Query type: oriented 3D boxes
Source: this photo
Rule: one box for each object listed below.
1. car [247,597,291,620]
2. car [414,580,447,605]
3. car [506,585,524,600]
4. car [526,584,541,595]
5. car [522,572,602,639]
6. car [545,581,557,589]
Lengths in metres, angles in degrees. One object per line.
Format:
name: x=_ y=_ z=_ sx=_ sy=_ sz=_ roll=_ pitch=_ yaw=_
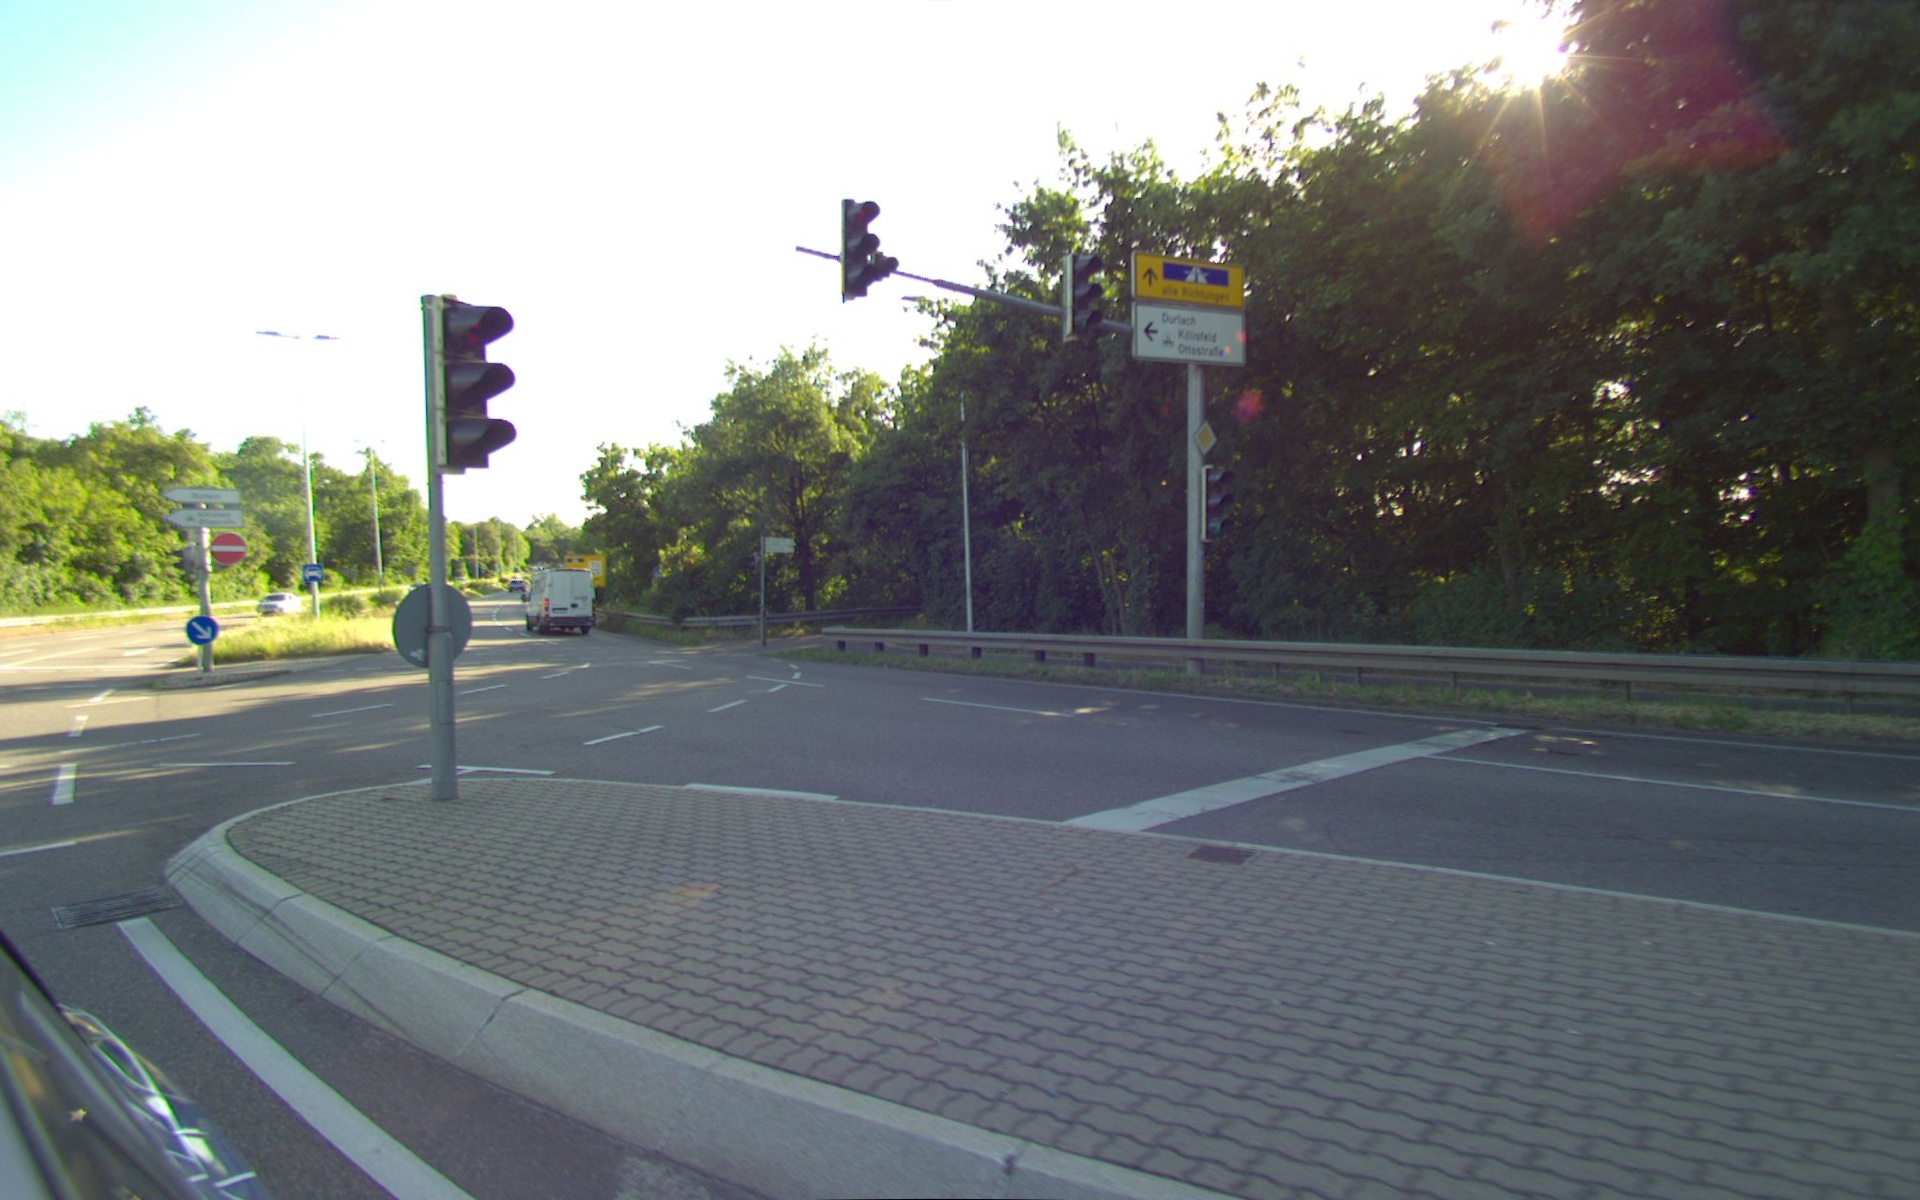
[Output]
car: x=-45.639 y=0.553 z=66.903 sx=1.735 sy=1.447 sz=4.344 roll=-1 pitch=0 yaw=-25
car: x=-44.116 y=-0.641 z=84.459 sx=1.965 sy=2.029 sz=4.013 roll=-1 pitch=0 yaw=-21
car: x=-53.956 y=-0.884 z=122.708 sx=1.885 sy=1.673 sz=4.013 roll=-1 pitch=0 yaw=-24
car: x=-67.250 y=-1.674 z=159.518 sx=1.872 sy=1.630 sz=4.013 roll=-1 pitch=0 yaw=-18
car: x=-16.592 y=0.237 z=41.958 sx=2.232 sy=2.572 sz=6.417 roll=0 pitch=-1 yaw=-29
car: x=-84.635 y=-3.158 z=209.534 sx=1.724 sy=1.502 sz=3.912 roll=-1 pitch=0 yaw=-14
